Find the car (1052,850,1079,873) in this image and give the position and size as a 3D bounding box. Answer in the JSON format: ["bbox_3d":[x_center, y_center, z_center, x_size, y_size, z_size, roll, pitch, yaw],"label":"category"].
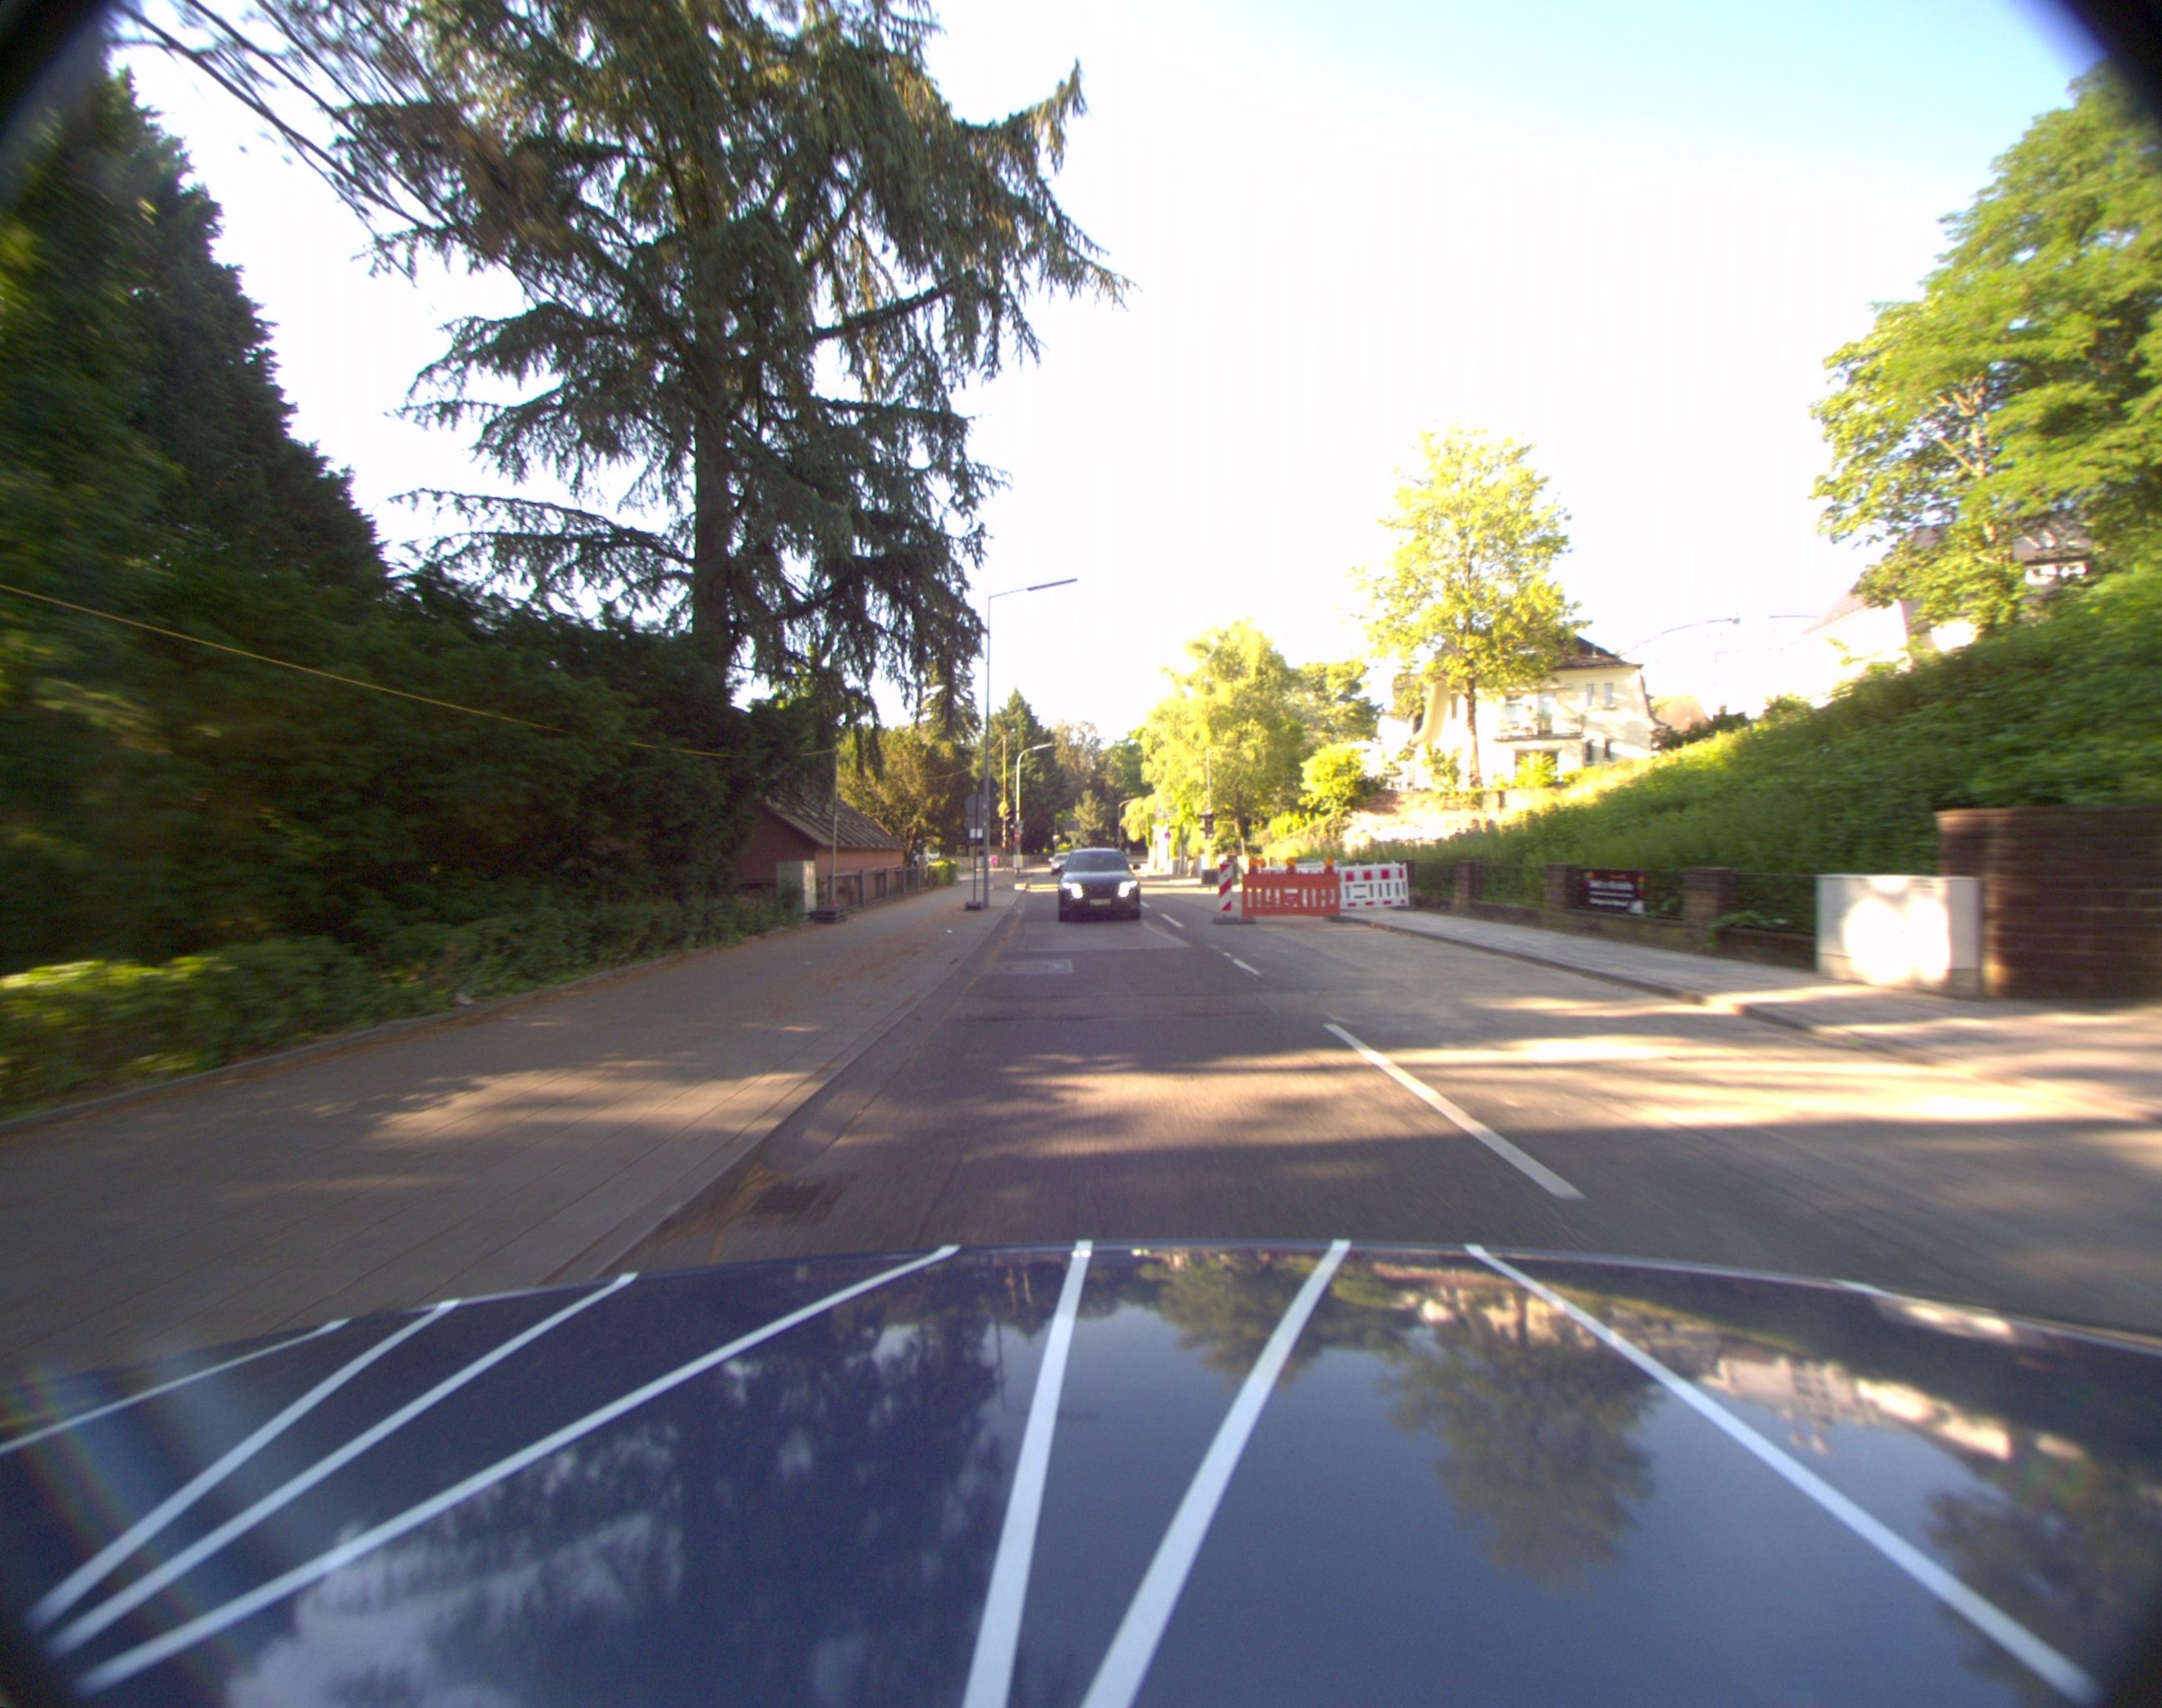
[{"bbox_3d":[-1.091,0.489,51.216,1.662,1.468,3.681,-2,1,-3],"label":"car"}]

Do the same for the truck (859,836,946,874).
[{"bbox_3d":[-14.469,0.089,61.651,6.498,2.736,2.373,-2,1,19],"label":"truck"}]

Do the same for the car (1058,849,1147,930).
[{"bbox_3d":[0.399,0.723,17.770,1.788,1.639,4.473,-1,0,-1],"label":"car"}]
